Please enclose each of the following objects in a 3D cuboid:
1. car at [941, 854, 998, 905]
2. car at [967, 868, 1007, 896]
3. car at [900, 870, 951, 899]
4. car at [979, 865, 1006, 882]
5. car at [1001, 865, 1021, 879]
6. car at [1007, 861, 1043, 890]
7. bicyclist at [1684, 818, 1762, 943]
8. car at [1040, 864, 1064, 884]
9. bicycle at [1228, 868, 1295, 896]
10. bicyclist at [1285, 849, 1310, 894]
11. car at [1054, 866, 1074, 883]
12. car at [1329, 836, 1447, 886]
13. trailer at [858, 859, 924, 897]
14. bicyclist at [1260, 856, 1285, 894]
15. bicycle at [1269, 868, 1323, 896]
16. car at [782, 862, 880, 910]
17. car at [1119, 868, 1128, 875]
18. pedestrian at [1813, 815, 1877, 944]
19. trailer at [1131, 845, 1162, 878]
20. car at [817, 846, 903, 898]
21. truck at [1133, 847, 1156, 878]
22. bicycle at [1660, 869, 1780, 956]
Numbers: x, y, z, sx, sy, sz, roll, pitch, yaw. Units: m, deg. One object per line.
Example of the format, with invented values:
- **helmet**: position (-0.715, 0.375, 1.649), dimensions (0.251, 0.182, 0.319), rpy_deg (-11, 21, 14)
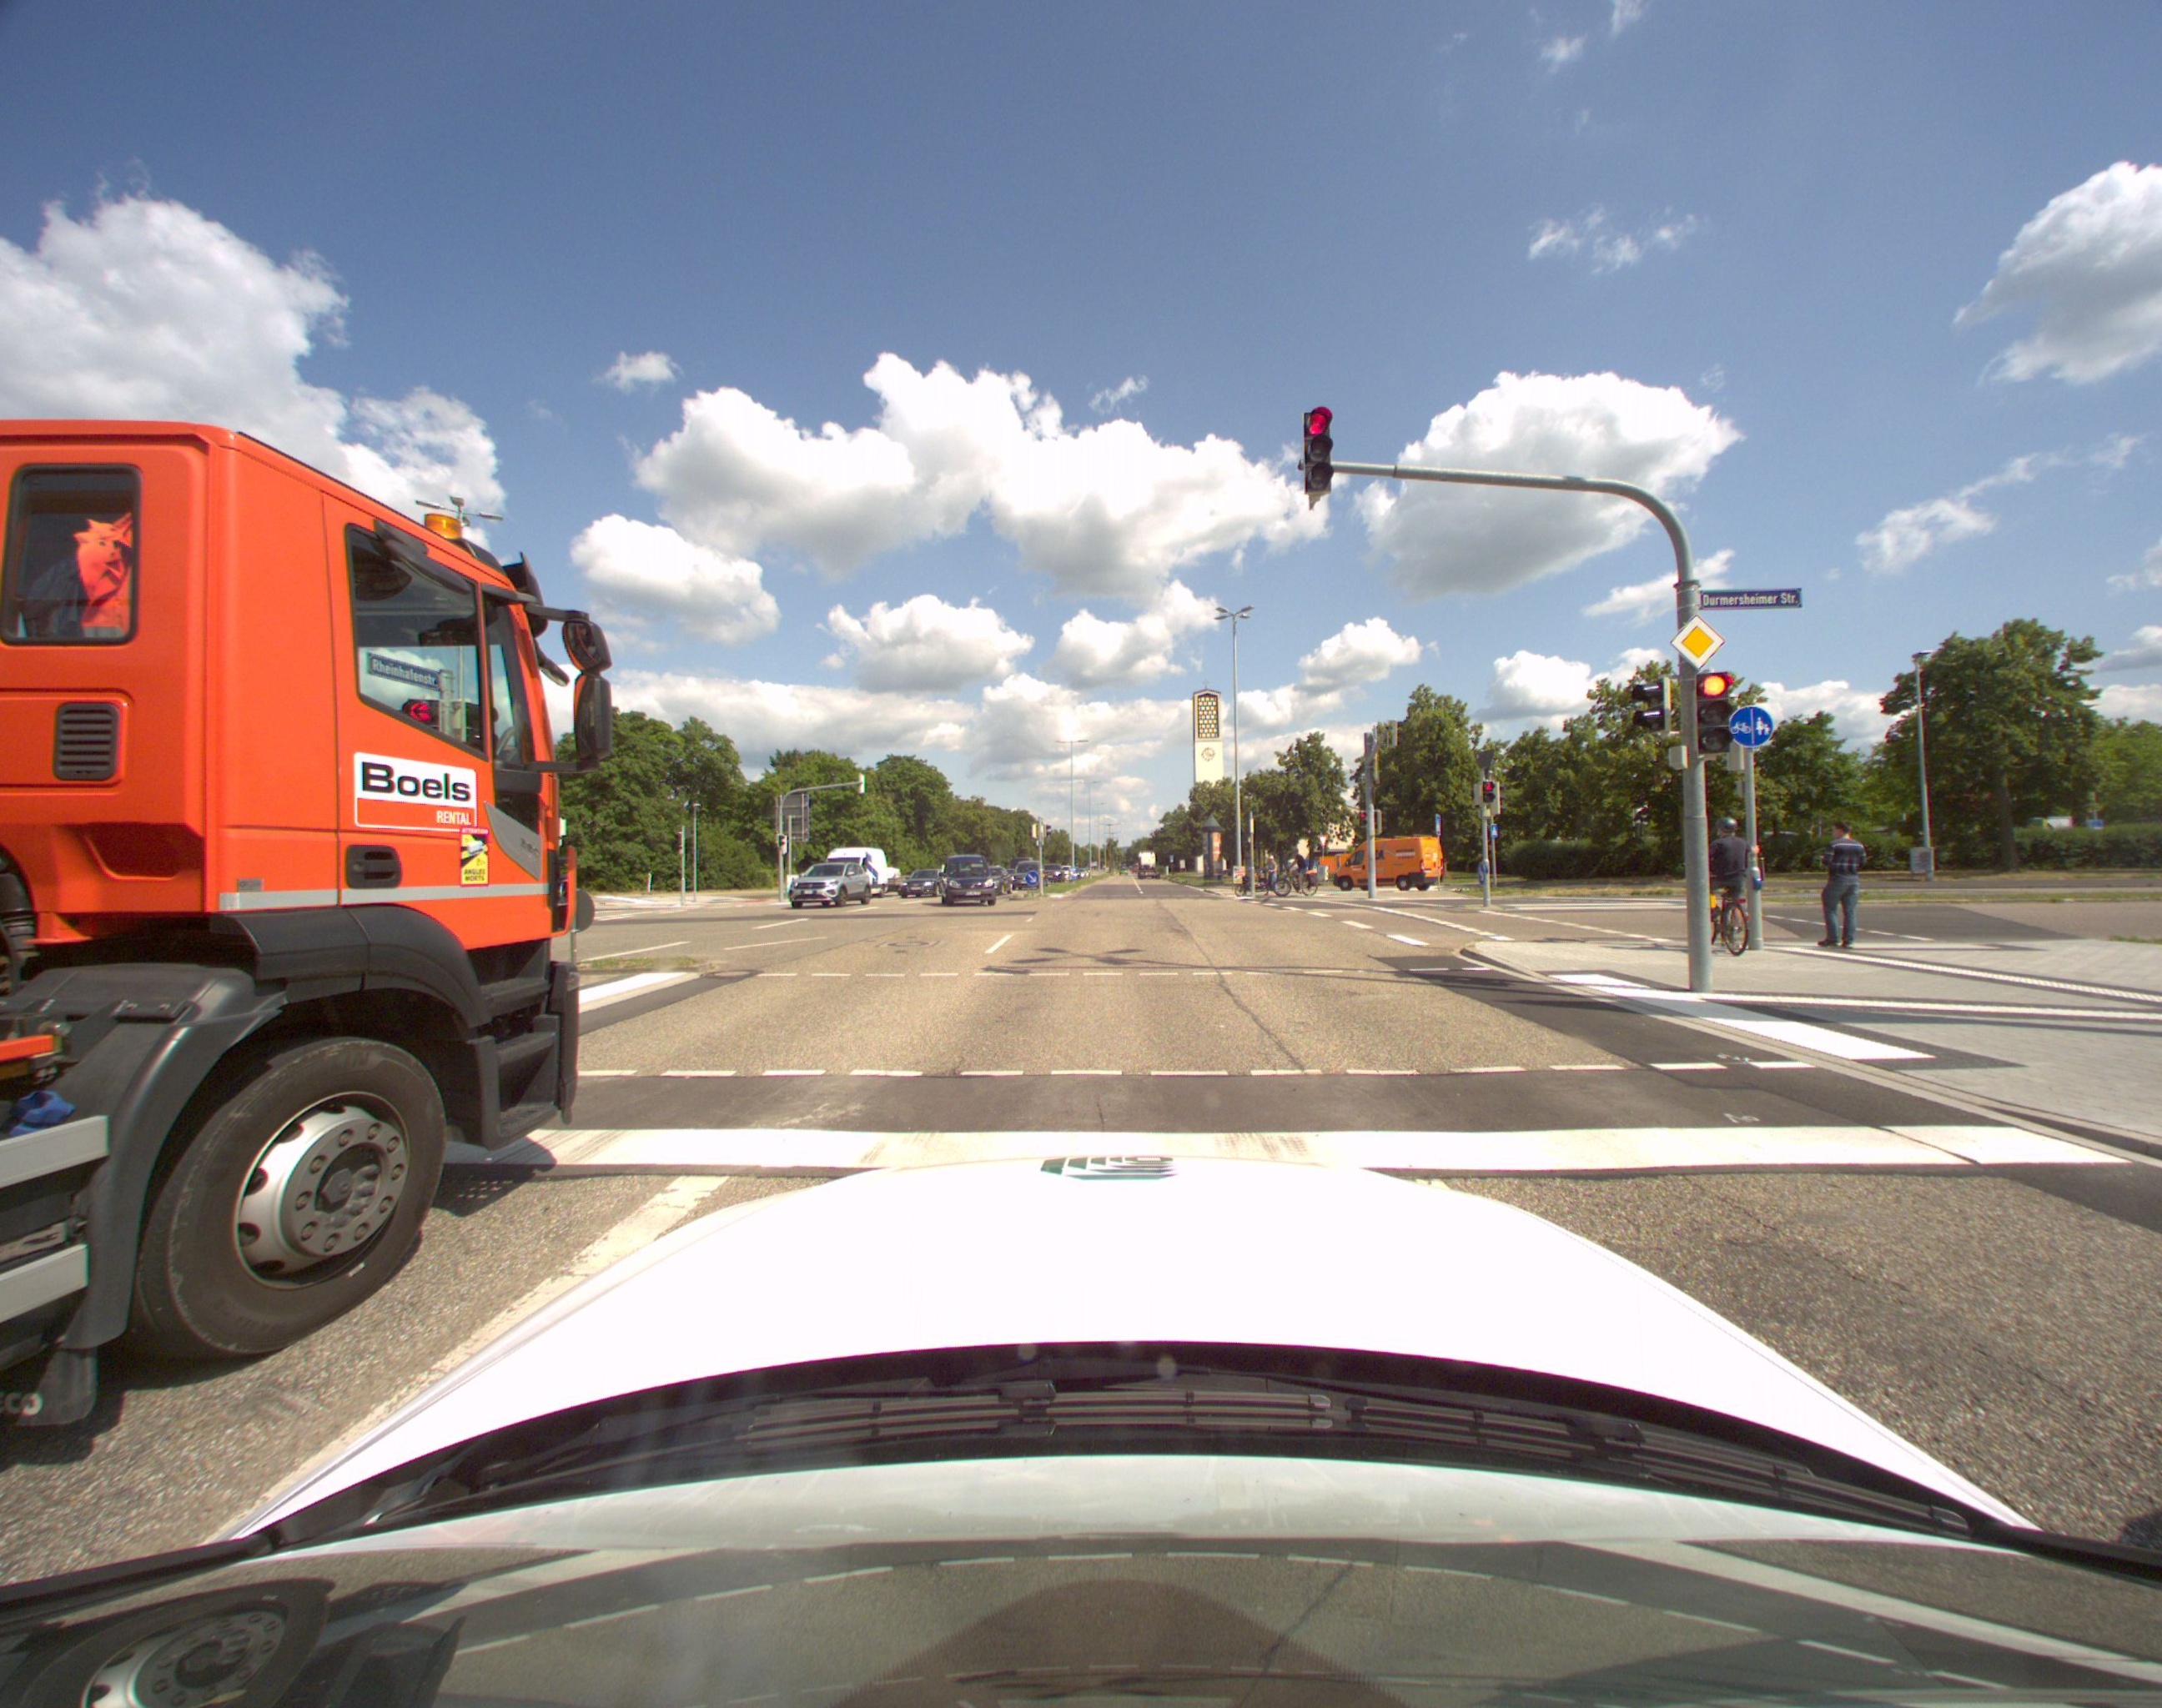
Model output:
- **car**: position (-3.981, 0.877, 28.660), dimensions (1.735, 1.660, 4.215), rpy_deg (1, -1, -11)
- **car**: position (-4.628, 1.352, 40.482), dimensions (1.563, 1.316, 3.431), rpy_deg (1, -1, 0)
- **car**: position (-7.749, 1.487, 40.853), dimensions (1.757, 1.352, 3.520), rpy_deg (-1, -1, 2)
- **car**: position (-6.717, 1.467, 62.297), dimensions (1.542, 1.217, 3.491), rpy_deg (1, -1, 2)
- **car**: position (-6.687, 1.711, 78.015), dimensions (1.542, 1.217, 3.491), rpy_deg (1, -1, 2)
- **car**: position (-3.464, 1.327, 51.090), dimensions (1.728, 1.660, 4.233), rpy_deg (1, 0, 2)
- **bicyclist**: position (8.868, 0.355, 11.278), dimensions (0.643, 1.661, 0.653), rpy_deg (1, -1, 16)
- **car**: position (-2.431, 1.681, 69.623), dimensions (1.728, 1.660, 4.232), rpy_deg (1, -1, 2)
- **bicycle**: position (7.677, 1.176, 34.564), dimensions (2.844, 1.112, 0.791), rpy_deg (0, -1, -22)
- **bicyclist**: position (8.771, 0.718, 33.023), dimensions (0.785, 1.804, 0.685), rpy_deg (-1, -1, -4)
- **car**: position (-1.705, 2.065, 82.153), dimensions (1.727, 1.660, 4.233), rpy_deg (1, -1, 3)
- **car**: position (14.595, 0.328, 38.872), dimensions (2.223, 2.226, 4.803), rpy_deg (2, -2, -40)
- **trailer**: position (-10.892, 1.354, 47.211), dimensions (2.114, 2.014, 5.169), rpy_deg (1, -1, 6)
- **bicyclist**: position (8.192, 0.881, 34.775), dimensions (0.701, 1.616, 0.791), rpy_deg (0, -1, -22)
- **bicycle**: position (8.718, 1.112, 33.011), dimensions (1.993, 1.093, 0.685), rpy_deg (-1, -1, -4)
- **car**: position (-8.736, 1.081, 28.874), dimensions (1.726, 1.543, 4.316), rpy_deg (1, -1, 6)
- **car**: position (9.326, 3.858, 179.189), dimensions (1.986, 1.552, 4.001), rpy_deg (1, -1, 2)
- **pedestrian**: position (10.758, 0.354, 11.481), dimensions (0.461, 1.779, 0.483), rpy_deg (1, -1, 11)
- **trailer**: position (8.481, 1.022, 104.603), dimensions (3.602, 4.012, 11.336), rpy_deg (-1, -2, 6)
- **car**: position (-11.149, 0.915, 41.667), dimensions (2.163, 2.471, 5.976), rpy_deg (1, -1, 6)
- **truck**: position (8.853, 1.241, 112.487), dimensions (2.944, 3.971, 8.651), rpy_deg (-1, -2, 6)
- **bicycle**: position (8.914, 0.770, 11.458), dimensions (0.643, 1.108, 1.936), rpy_deg (1, -1, 16)
